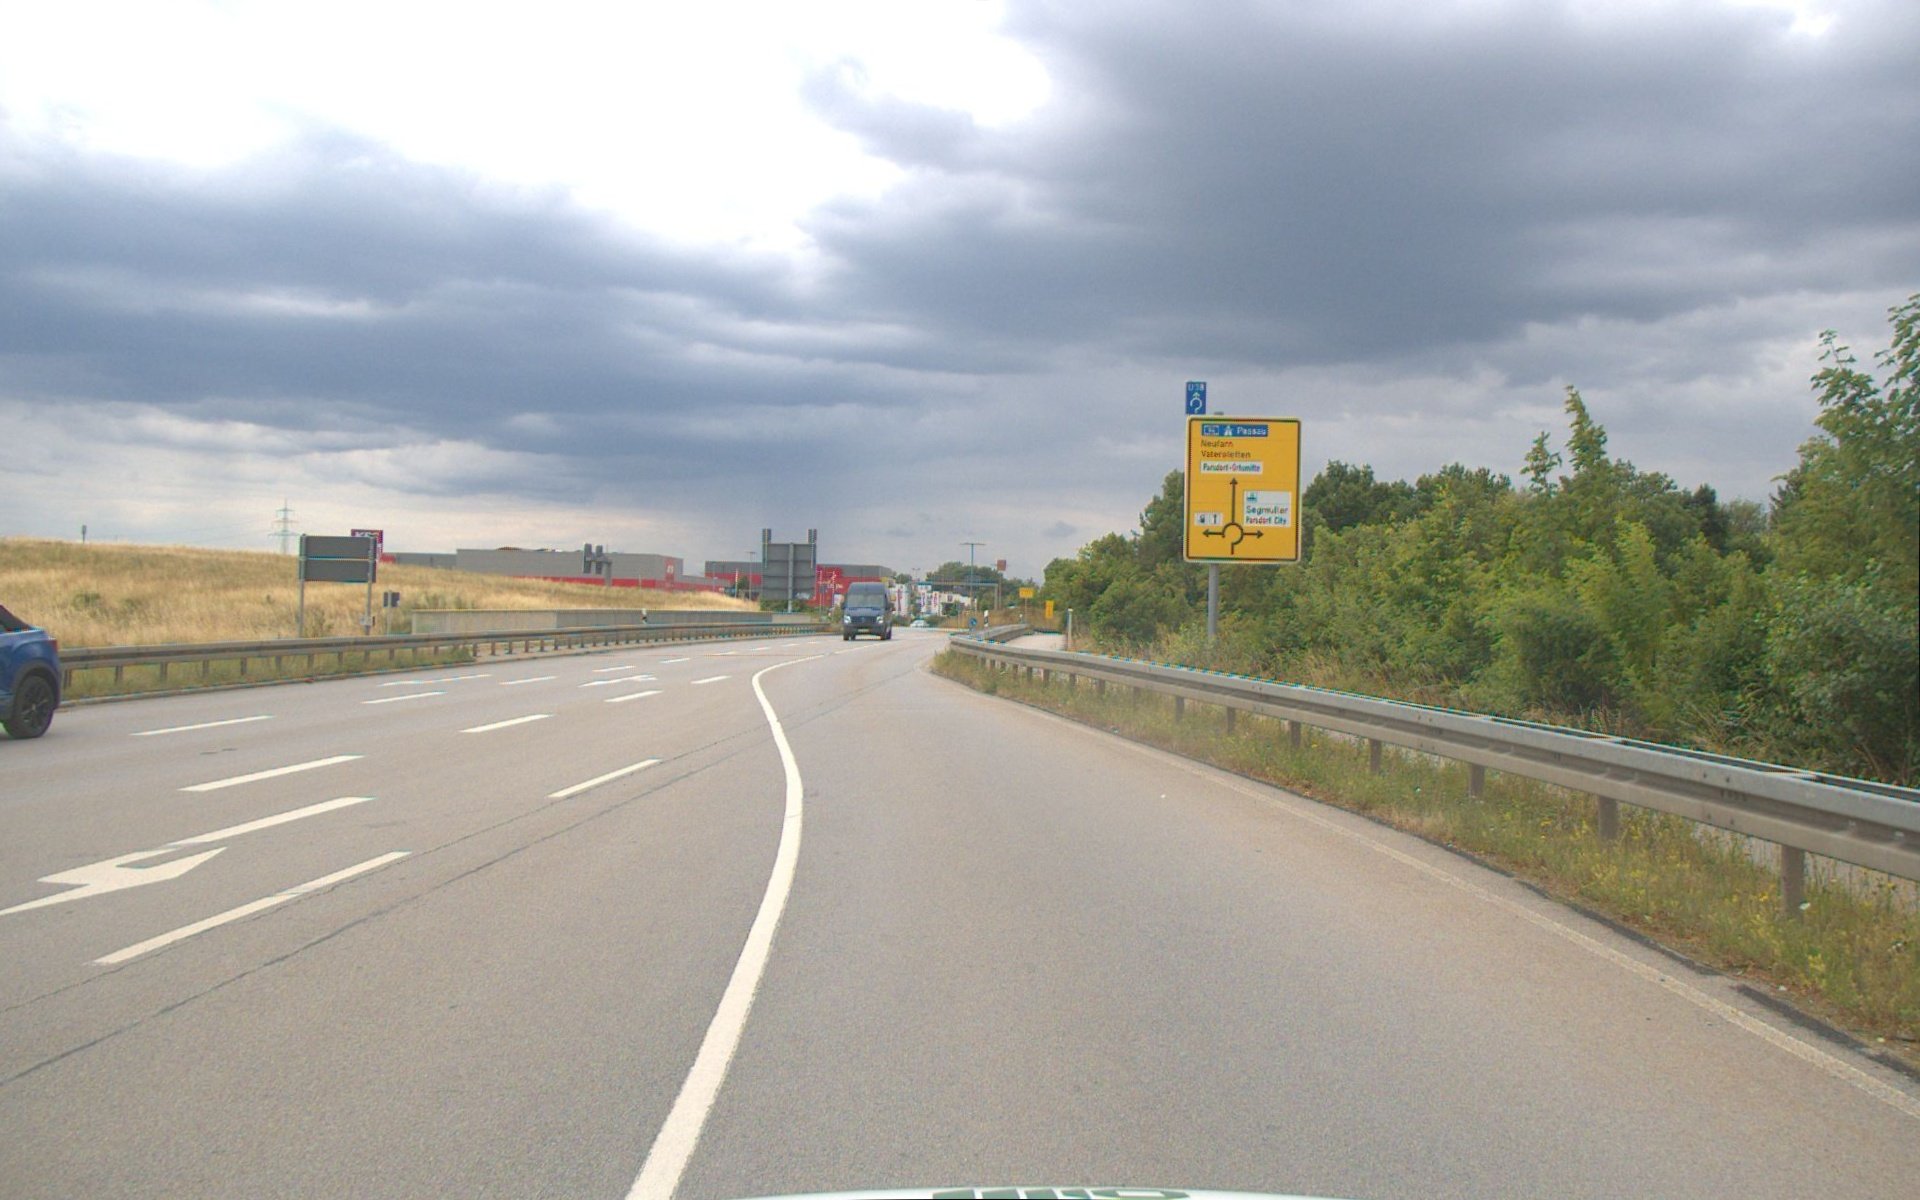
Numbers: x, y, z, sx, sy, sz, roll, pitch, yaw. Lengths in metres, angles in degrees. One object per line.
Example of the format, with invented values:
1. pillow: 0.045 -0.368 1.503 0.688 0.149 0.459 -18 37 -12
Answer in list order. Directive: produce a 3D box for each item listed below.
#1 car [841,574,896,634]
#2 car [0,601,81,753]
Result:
1. car: -4.177 0.172 76.269 1.952 2.638 6.005 1 0 2
2. car: -10.925 0.794 16.752 1.760 1.578 4.001 1 0 2
